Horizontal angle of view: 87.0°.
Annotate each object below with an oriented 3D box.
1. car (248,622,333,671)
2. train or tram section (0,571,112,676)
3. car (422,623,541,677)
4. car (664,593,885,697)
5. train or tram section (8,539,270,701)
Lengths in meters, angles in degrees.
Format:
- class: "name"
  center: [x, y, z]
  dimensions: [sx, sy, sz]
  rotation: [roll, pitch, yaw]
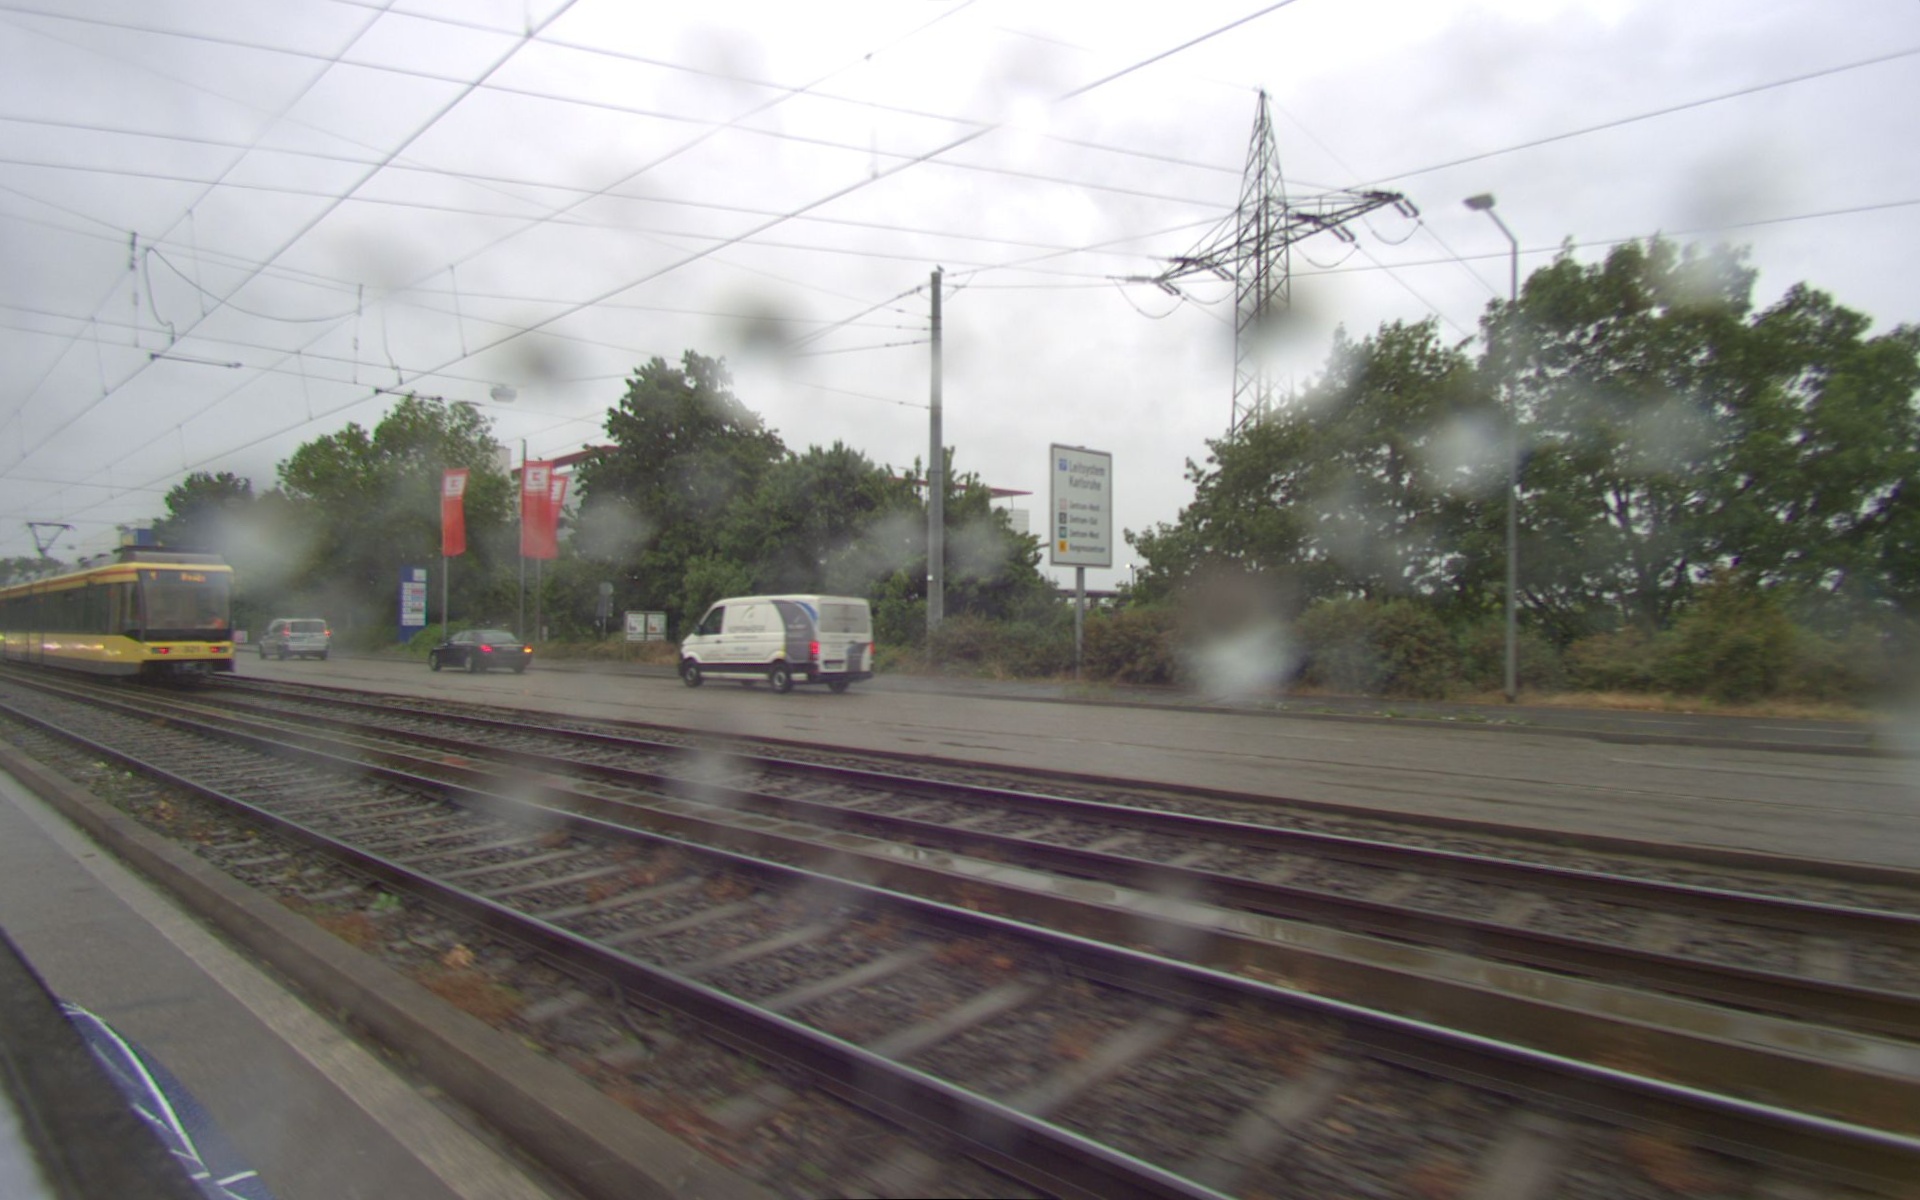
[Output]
- class: "car"
  center: [-31.034, 2.144, 46.883]
  dimensions: [4.727, 2.116, 2.068]
  rotation: [-3, -1, 41]
- class: "train or tram section"
  center: [-39.739, 1.138, 43.048]
  dimensions: [17.879, 3.734, 2.835]
  rotation: [-3, -1, 41]
- class: "car"
  center: [-16.222, 1.687, 34.217]
  dimensions: [4.727, 1.653, 1.877]
  rotation: [-3, -1, 41]
- class: "car"
  center: [-4.749, 1.185, 25.271]
  dimensions: [5.979, 2.316, 2.128]
  rotation: [-3, -6, 41]
- class: "train or tram section"
  center: [-25.609, 0.794, 30.713]
  dimensions: [19.517, 3.734, 2.856]
  rotation: [-3, -1, 41]
